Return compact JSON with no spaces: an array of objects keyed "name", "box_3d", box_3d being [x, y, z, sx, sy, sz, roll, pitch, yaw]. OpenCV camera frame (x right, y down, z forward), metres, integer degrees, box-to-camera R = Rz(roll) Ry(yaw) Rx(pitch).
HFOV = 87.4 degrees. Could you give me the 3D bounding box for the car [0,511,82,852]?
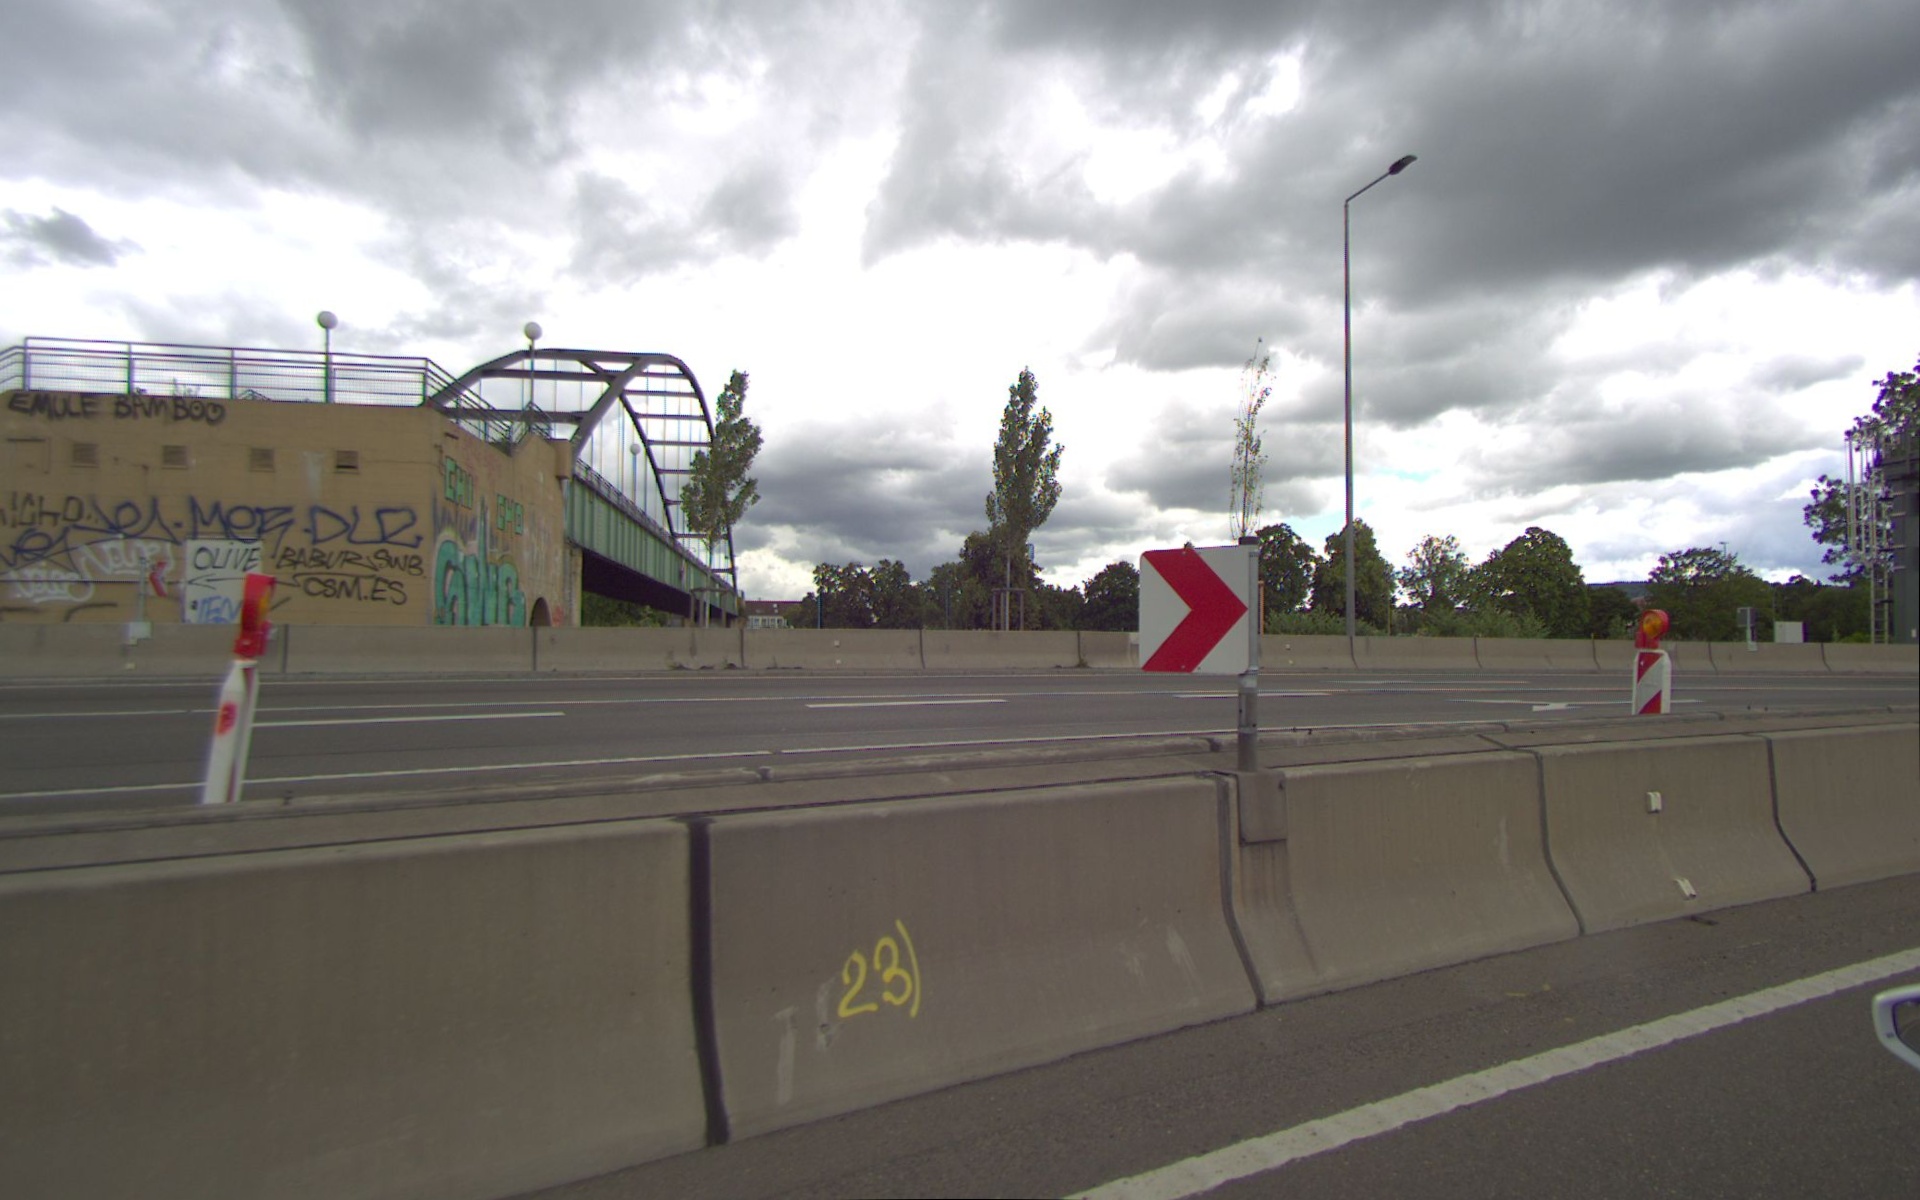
[{"name":"car","box_3d":[-6.726,0.340,3.556,5.081,1.573,2.088,1,0,-30]}]
